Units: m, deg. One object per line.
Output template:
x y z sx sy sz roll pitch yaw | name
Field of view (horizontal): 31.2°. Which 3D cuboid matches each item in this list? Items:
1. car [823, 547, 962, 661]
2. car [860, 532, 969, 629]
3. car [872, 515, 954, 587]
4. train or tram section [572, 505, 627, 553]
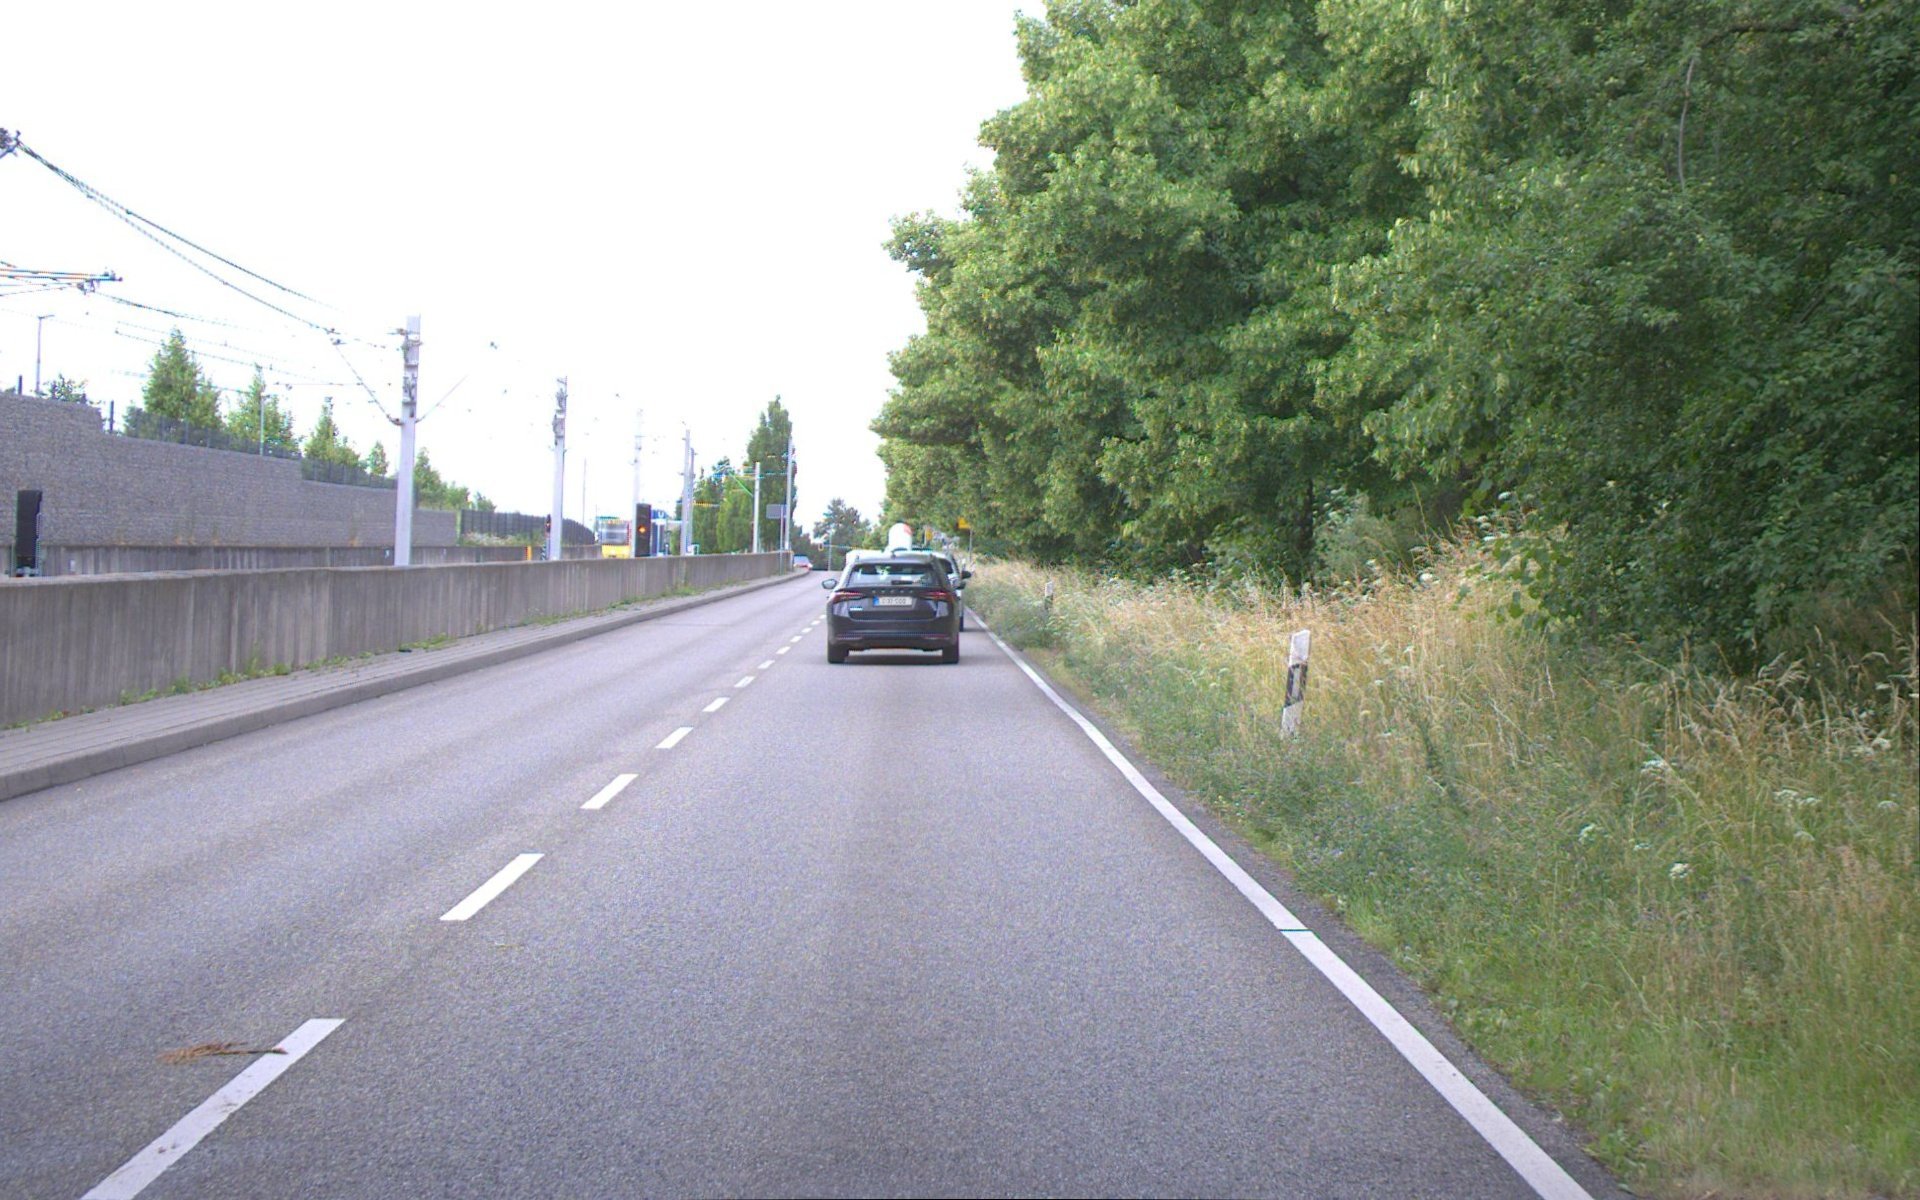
-0.903 0.020 46.579 1.781 1.463 4.000 1 1 -1 | car
-0.861 -0.385 65.078 1.993 1.747 4.000 1 1 -1 | car
-1.189 -1.227 86.877 1.993 1.734 4.000 1 0 -1 | car
-26.241 -5.061 249.482 2.811 3.106 18.920 1 0 -9 | train or tram section
